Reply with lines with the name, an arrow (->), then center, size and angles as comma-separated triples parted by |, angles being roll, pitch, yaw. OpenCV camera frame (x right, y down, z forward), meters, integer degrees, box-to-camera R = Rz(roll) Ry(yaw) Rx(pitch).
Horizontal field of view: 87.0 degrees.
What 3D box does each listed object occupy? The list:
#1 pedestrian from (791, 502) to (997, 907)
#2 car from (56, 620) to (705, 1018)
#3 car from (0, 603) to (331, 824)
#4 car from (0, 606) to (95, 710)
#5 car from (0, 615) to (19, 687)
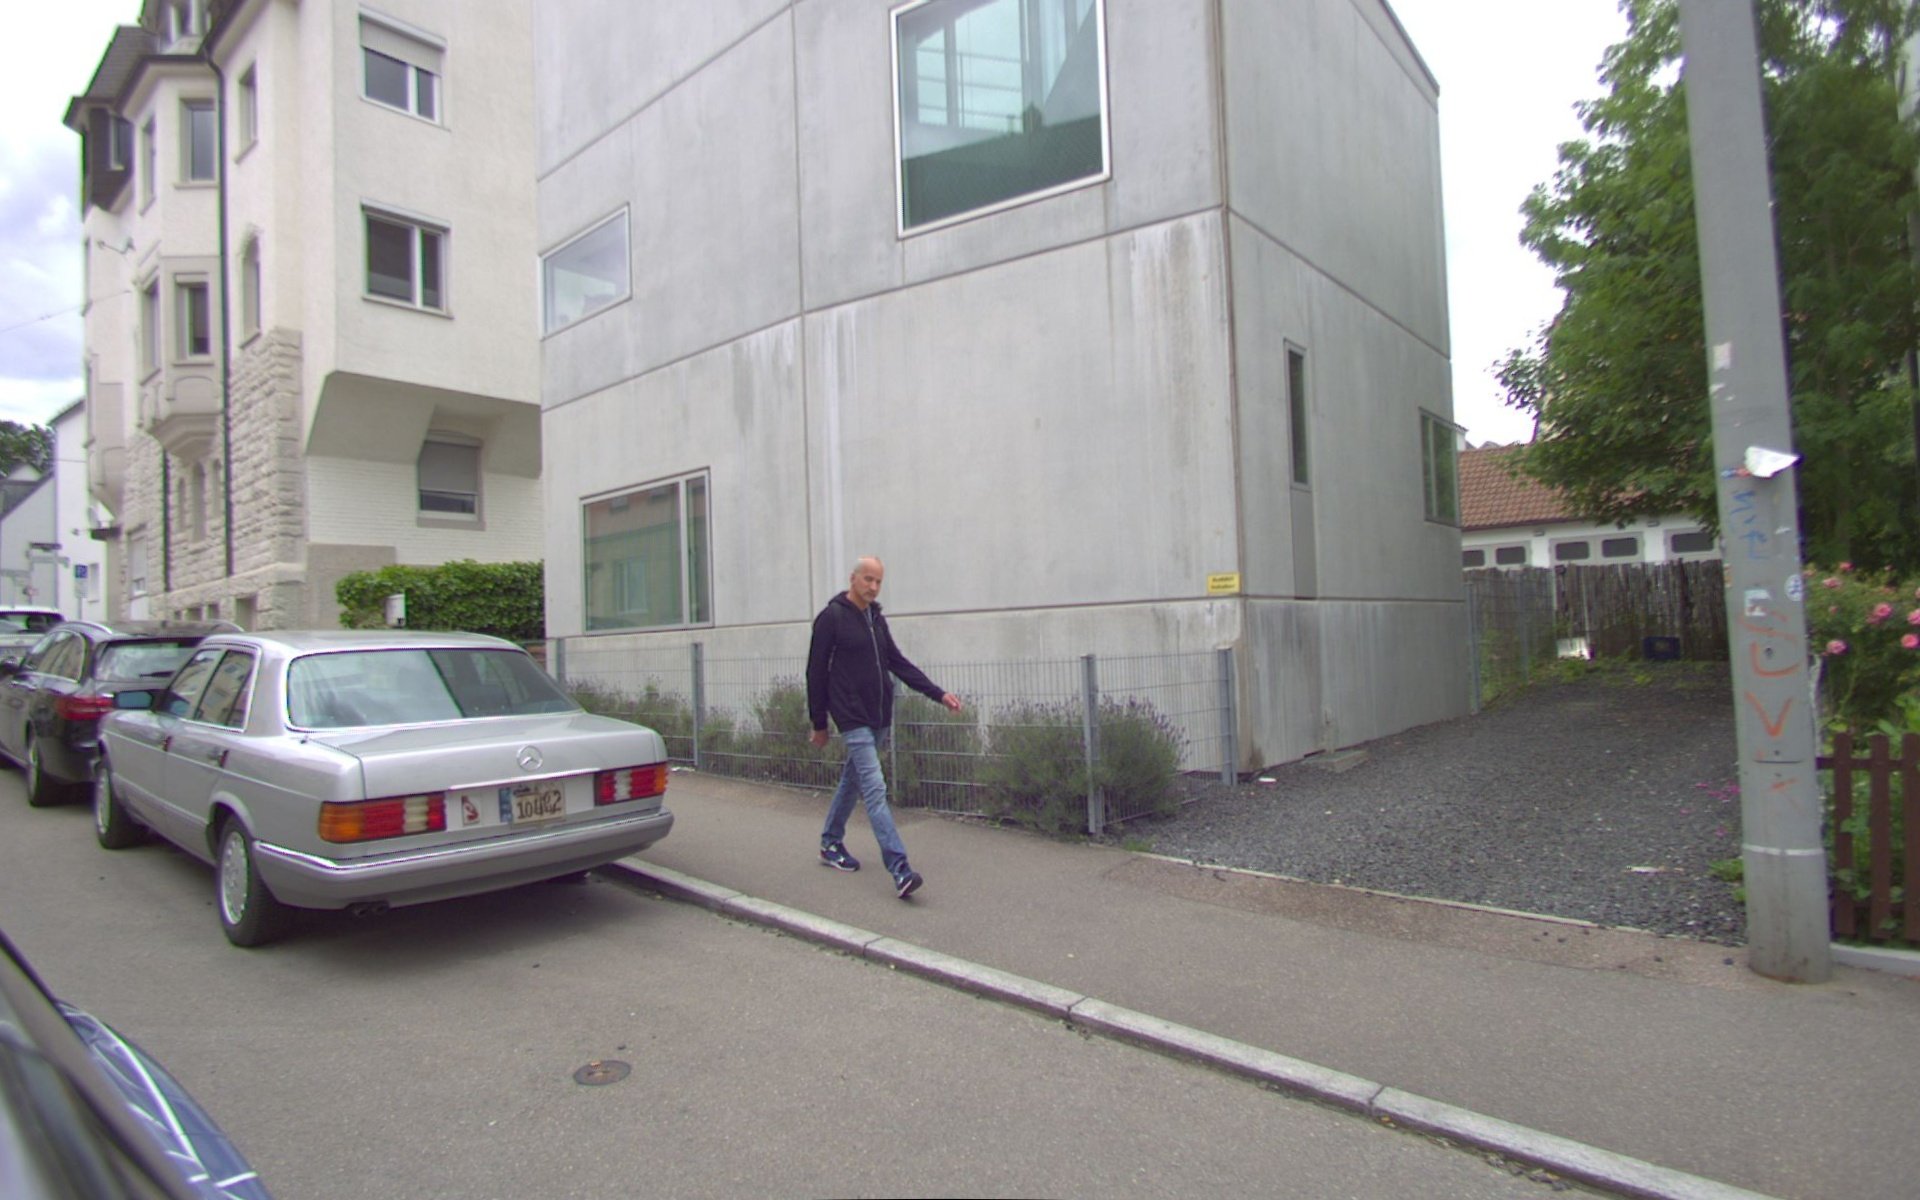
pedestrian -> -0.370, 0.501, 5.317 | 0.805, 1.899, 0.850 | 1, -2, -27
car -> -3.783, 0.849, 6.071 | 5.059, 1.423, 1.826 | -1, -1, 41
car -> -7.567, 0.811, 9.236 | 4.468, 1.539, 1.876 | 0, -1, 41
car -> -15.687, 0.905, 16.382 | 4.236, 1.527, 1.827 | -2, -2, 39
car -> -21.116, 1.063, 21.060 | 4.236, 1.425, 1.682 | -2, -2, 39
